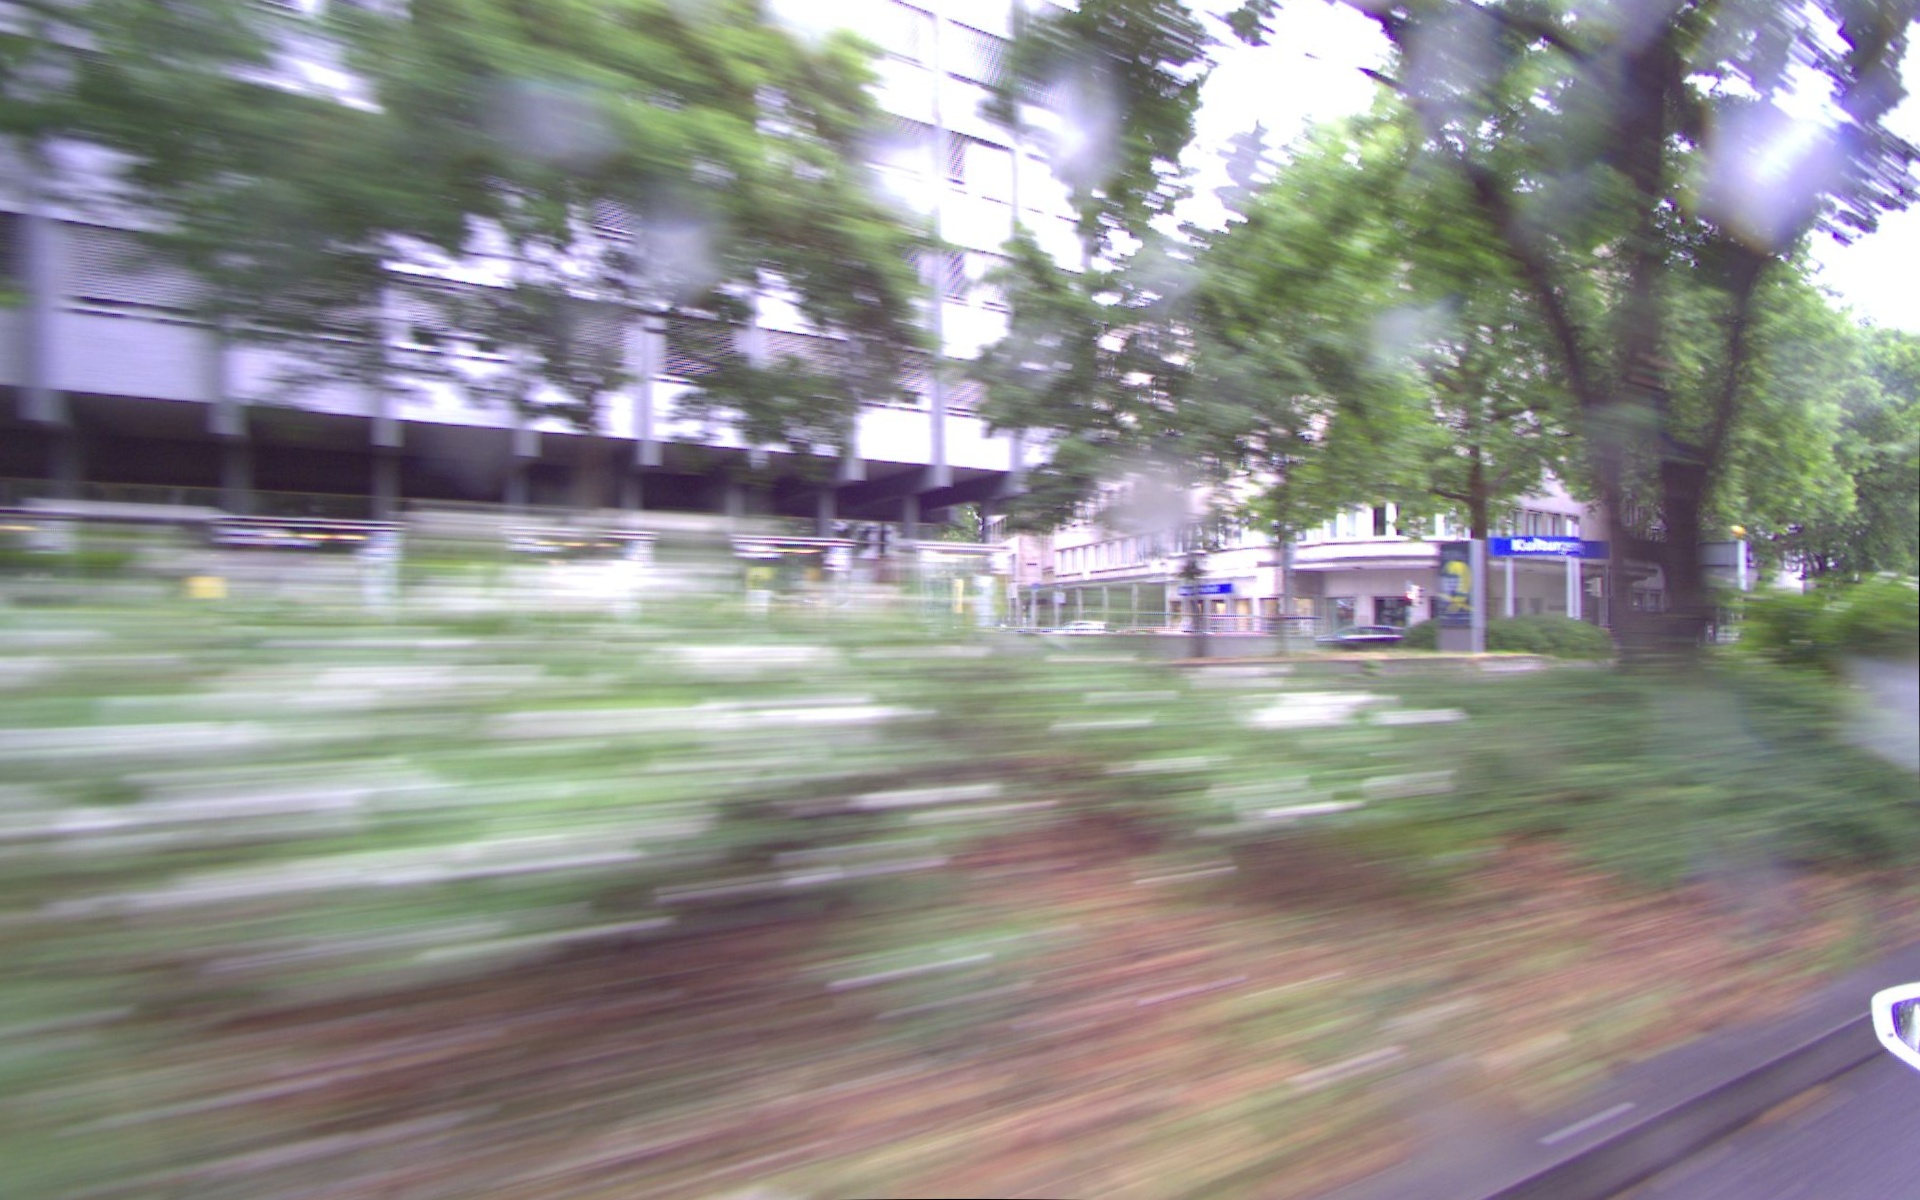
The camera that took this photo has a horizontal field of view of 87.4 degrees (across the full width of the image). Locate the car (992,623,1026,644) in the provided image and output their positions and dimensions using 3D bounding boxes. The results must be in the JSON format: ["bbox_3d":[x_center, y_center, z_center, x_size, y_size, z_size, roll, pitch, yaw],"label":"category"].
[{"bbox_3d":[3.657,2.494,75.352,1.736,1.417,3.841,1,0,-10],"label":"car"}]

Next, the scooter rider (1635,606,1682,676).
[{"bbox_3d":[20.110,1.163,28.919,0.749,1.966,0.894,1,0,-34],"label":"scooter rider"}]

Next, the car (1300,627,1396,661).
[{"bbox_3d":[15.236,1.705,39.545,3.344,1.193,1.517,1,0,14],"label":"car"}]
